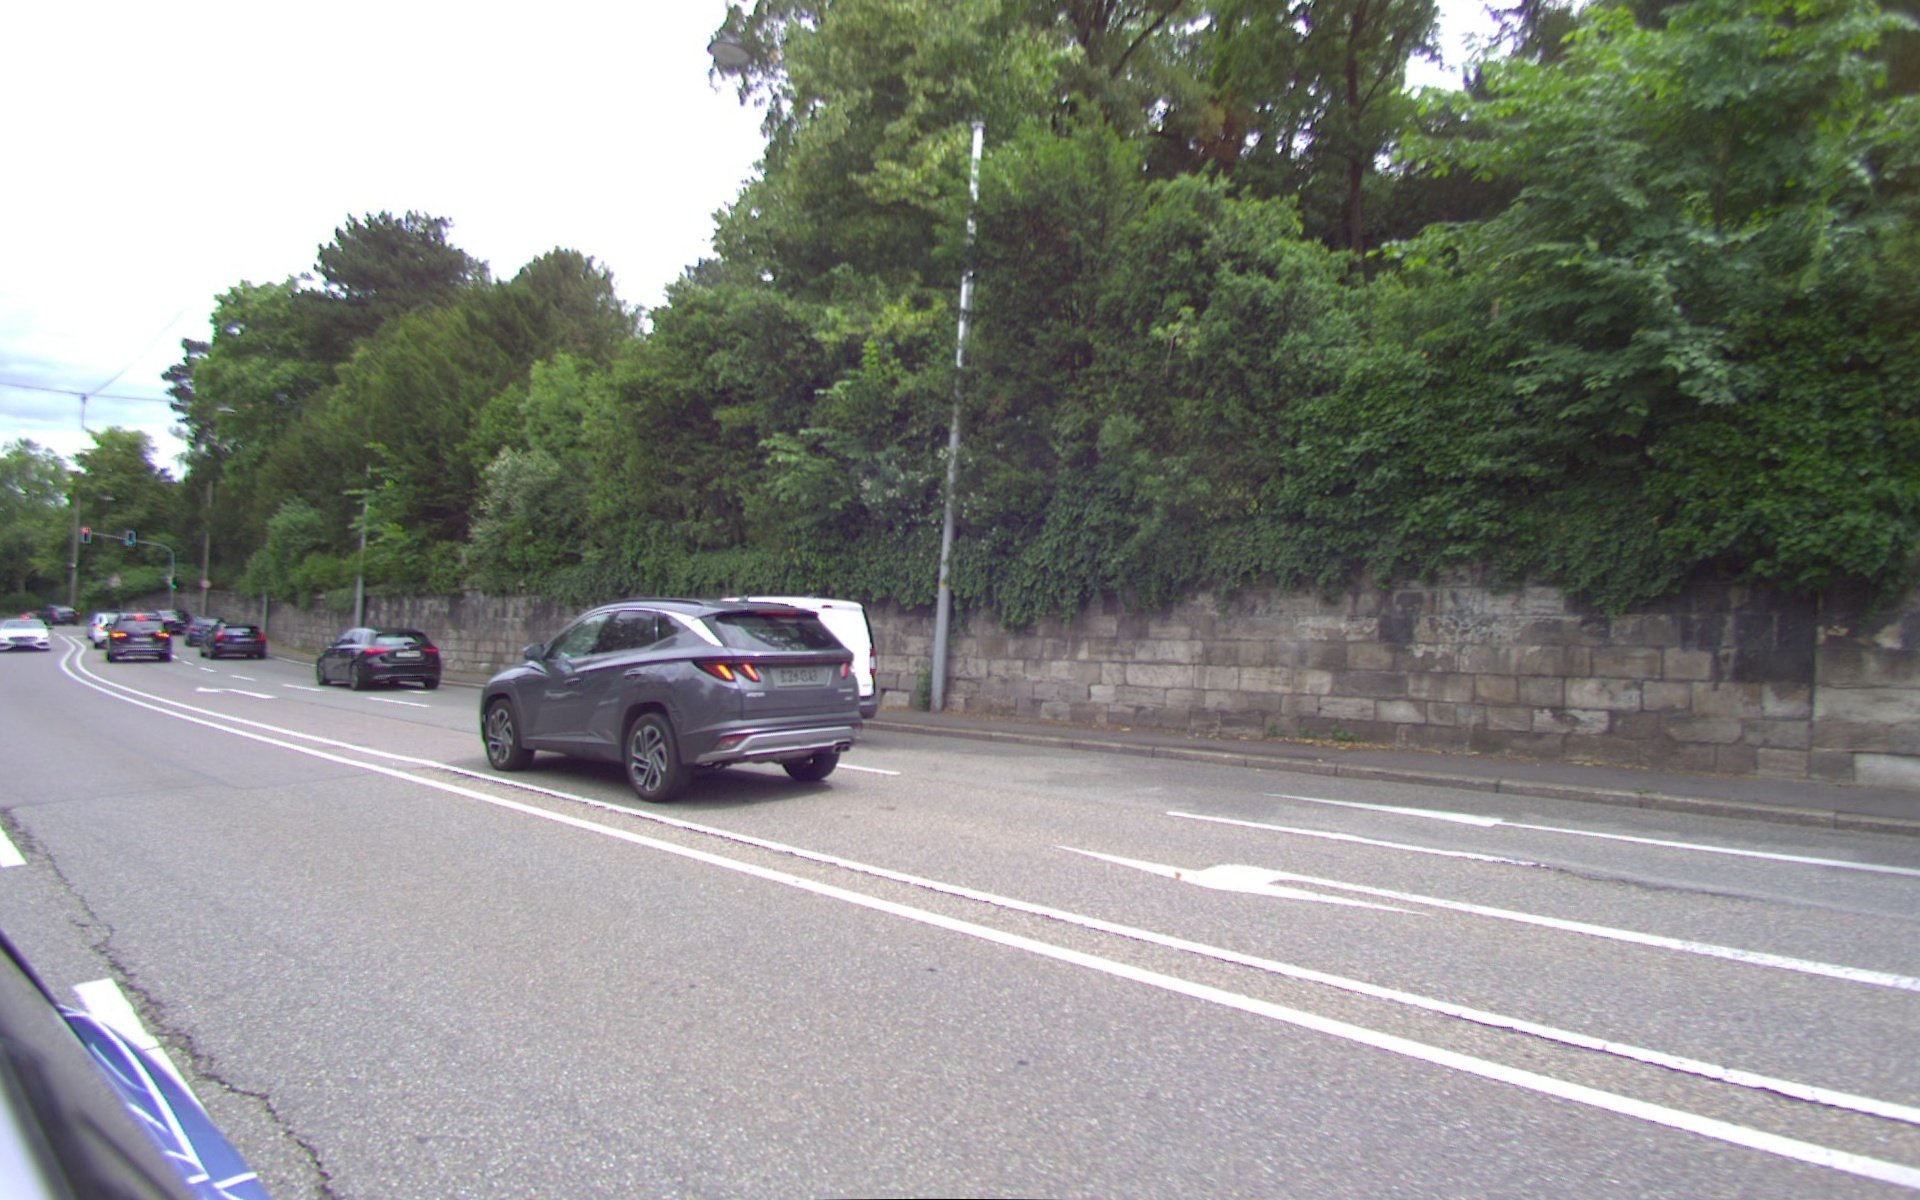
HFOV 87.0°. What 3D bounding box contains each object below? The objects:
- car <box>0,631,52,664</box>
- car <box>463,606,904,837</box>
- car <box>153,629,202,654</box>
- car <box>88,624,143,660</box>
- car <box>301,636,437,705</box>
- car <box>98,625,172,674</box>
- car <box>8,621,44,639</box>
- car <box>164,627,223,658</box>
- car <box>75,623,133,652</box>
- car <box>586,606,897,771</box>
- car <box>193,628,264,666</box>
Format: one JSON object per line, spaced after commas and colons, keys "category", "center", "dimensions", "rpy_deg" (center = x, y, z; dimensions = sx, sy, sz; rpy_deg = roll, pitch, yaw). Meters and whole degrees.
{"category": "car", "center": [-41.557, 2.081, 44.852], "dimensions": [1.776, 1.401, 3.533], "rpy_deg": [2, -3, -40]}
{"category": "car", "center": [-2.709, 0.922, 9.339], "dimensions": [4.359, 1.645, 1.830], "rpy_deg": [-2, -2, 41]}
{"category": "car", "center": [-47.975, 2.521, 62.012], "dimensions": [1.978, 1.420, 4.760], "rpy_deg": [1, -2, -42]}
{"category": "car", "center": [-40.477, 1.962, 48.464], "dimensions": [1.815, 1.566, 4.794], "rpy_deg": [1, -1, -42]}
{"category": "car", "center": [-13.968, 1.604, 23.829], "dimensions": [4.253, 1.413, 1.545], "rpy_deg": [-1, -3, 43]}
{"category": "car", "center": [-30.490, 1.796, 37.356], "dimensions": [1.825, 1.664, 4.629], "rpy_deg": [3, -3, -42]}
{"category": "car", "center": [-76.032, 2.415, 82.359], "dimensions": [3.955, 1.445, 1.614], "rpy_deg": [0, -1, 40]}
{"category": "car", "center": [-38.203, 2.094, 50.422], "dimensions": [1.821, 1.447, 4.002], "rpy_deg": [3, -3, -45]}
{"category": "car", "center": [-47.517, 2.060, 56.139], "dimensions": [4.880, 1.481, 1.971], "rpy_deg": [0, -2, 45]}
{"category": "car", "center": [-3.058, 1.062, 13.627], "dimensions": [4.396, 1.862, 1.872], "rpy_deg": [-1, -3, 42]}
{"category": "car", "center": [-29.504, 1.882, 40.787], "dimensions": [1.820, 1.420, 4.461], "rpy_deg": [3, -3, -42]}
